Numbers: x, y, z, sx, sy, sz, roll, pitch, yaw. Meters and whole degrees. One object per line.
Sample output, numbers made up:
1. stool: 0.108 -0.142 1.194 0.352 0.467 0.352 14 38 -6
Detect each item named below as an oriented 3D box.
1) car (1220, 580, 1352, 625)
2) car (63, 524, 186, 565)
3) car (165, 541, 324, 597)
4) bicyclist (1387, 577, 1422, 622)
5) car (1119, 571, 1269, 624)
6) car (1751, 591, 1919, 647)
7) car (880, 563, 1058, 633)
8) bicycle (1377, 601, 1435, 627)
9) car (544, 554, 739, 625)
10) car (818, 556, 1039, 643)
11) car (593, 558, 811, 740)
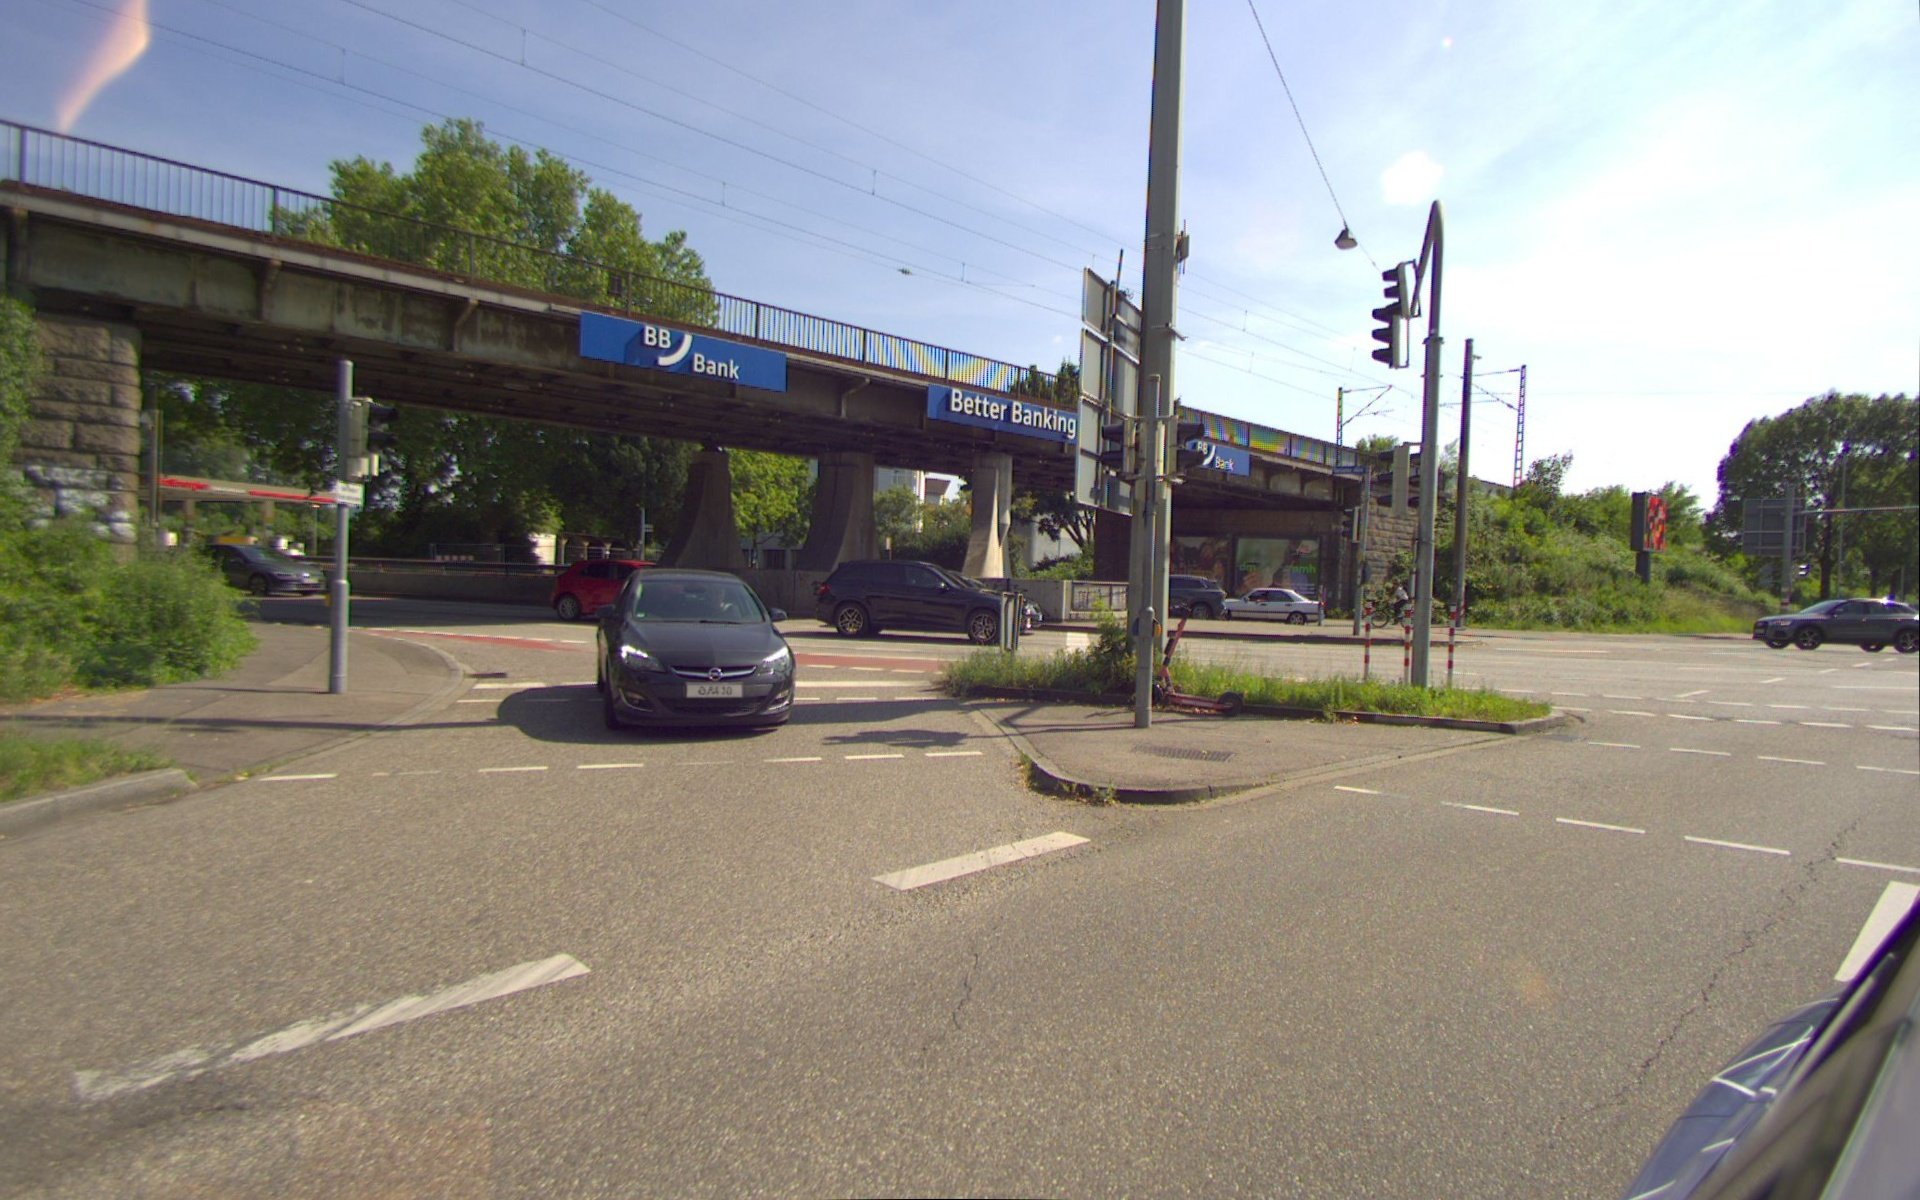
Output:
1. car: 11.803 0.081 36.901 4.372 1.409 1.710 2 0 12
2. car: -37.523 -2.490 45.462 4.418 1.527 1.991 3 -1 14
3. car: -20.558 -0.891 29.100 3.945 1.460 1.684 2 1 17
4. bicyclist: 16.957 0.002 38.630 1.053 1.655 0.802 2 -1 16
5. car: 8.074 -0.116 35.191 4.900 1.628 1.941 2 1 13
6. car: 27.000 0.559 30.557 4.493 1.569 1.822 1 0 14
7. car: 0.237 -0.071 24.251 3.945 1.460 1.684 2 1 17
8. bicycle: 16.986 0.538 38.604 1.900 0.904 0.813 3 -1 17
9. car: -7.262 -0.253 23.219 3.939 1.438 1.702 2 1 12
10. car: -0.611 -0.055 21.543 4.375 1.615 1.994 2 2 11
11. car: -2.866 0.353 10.741 1.789 1.525 4.226 1 2 -18
